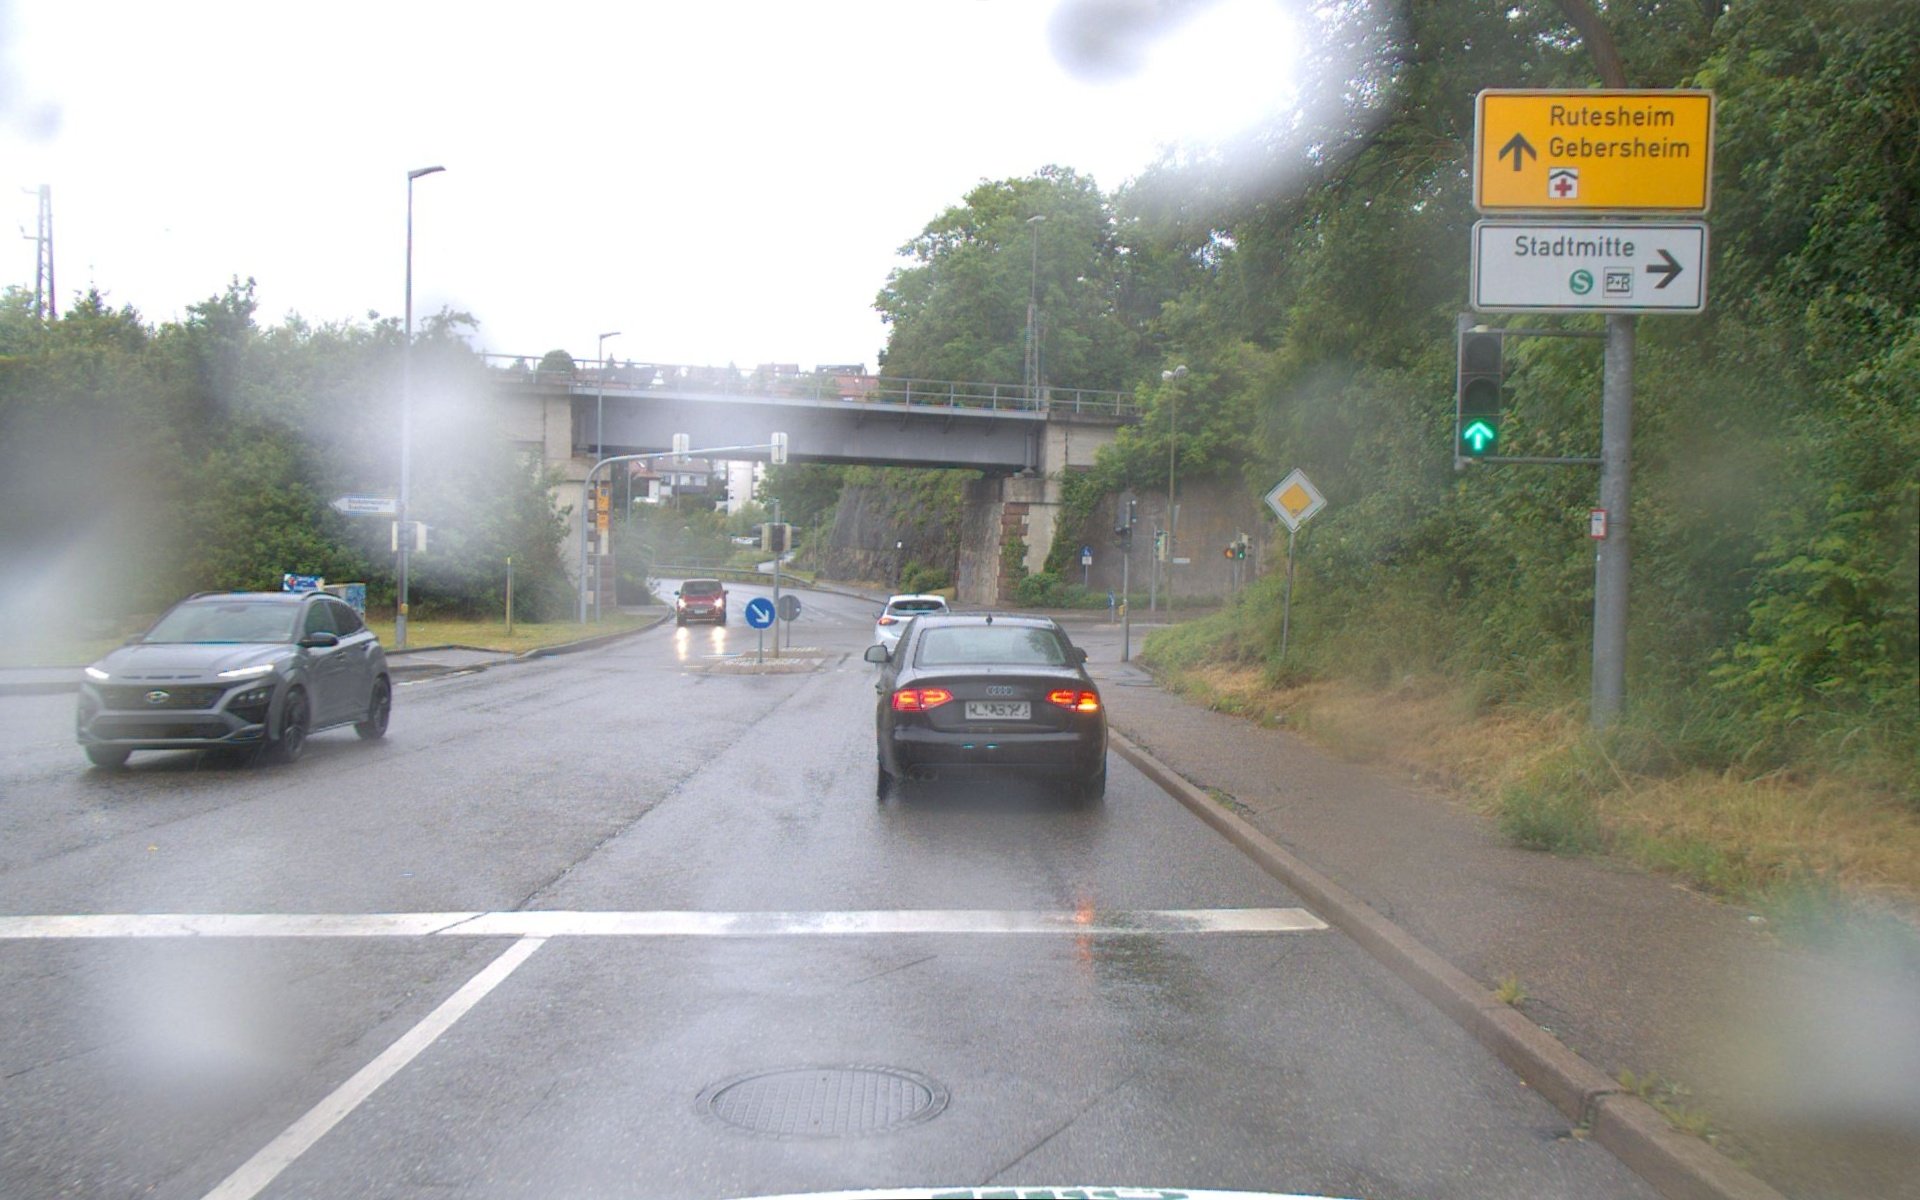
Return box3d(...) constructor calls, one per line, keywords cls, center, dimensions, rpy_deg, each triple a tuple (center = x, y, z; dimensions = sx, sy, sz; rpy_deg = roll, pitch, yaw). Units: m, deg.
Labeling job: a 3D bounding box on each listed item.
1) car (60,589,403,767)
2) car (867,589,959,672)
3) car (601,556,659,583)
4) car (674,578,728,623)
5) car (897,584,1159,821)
box3d(cls="car", center=(-6.830, 0.646, 15.982), dimensions=(1.606, 1.495, 3.999), rpy_deg=(0, 0, -1))
box3d(cls="car", center=(-0.956, 0.638, 34.272), dimensions=(1.786, 1.613, 3.999), rpy_deg=(0, -1, -1))
box3d(cls="car", center=(-22.045, -2.046, 110.448), dimensions=(1.985, 1.623, 3.937), rpy_deg=(-1, 4, -44))
box3d(cls="car", center=(-10.047, 0.015, 64.261), dimensions=(1.956, 1.657, 3.993), rpy_deg=(-1, 0, -8))
box3d(cls="car", center=(0.443, 0.752, 13.549), dimensions=(1.832, 1.645, 3.999), rpy_deg=(0, -1, -1))
